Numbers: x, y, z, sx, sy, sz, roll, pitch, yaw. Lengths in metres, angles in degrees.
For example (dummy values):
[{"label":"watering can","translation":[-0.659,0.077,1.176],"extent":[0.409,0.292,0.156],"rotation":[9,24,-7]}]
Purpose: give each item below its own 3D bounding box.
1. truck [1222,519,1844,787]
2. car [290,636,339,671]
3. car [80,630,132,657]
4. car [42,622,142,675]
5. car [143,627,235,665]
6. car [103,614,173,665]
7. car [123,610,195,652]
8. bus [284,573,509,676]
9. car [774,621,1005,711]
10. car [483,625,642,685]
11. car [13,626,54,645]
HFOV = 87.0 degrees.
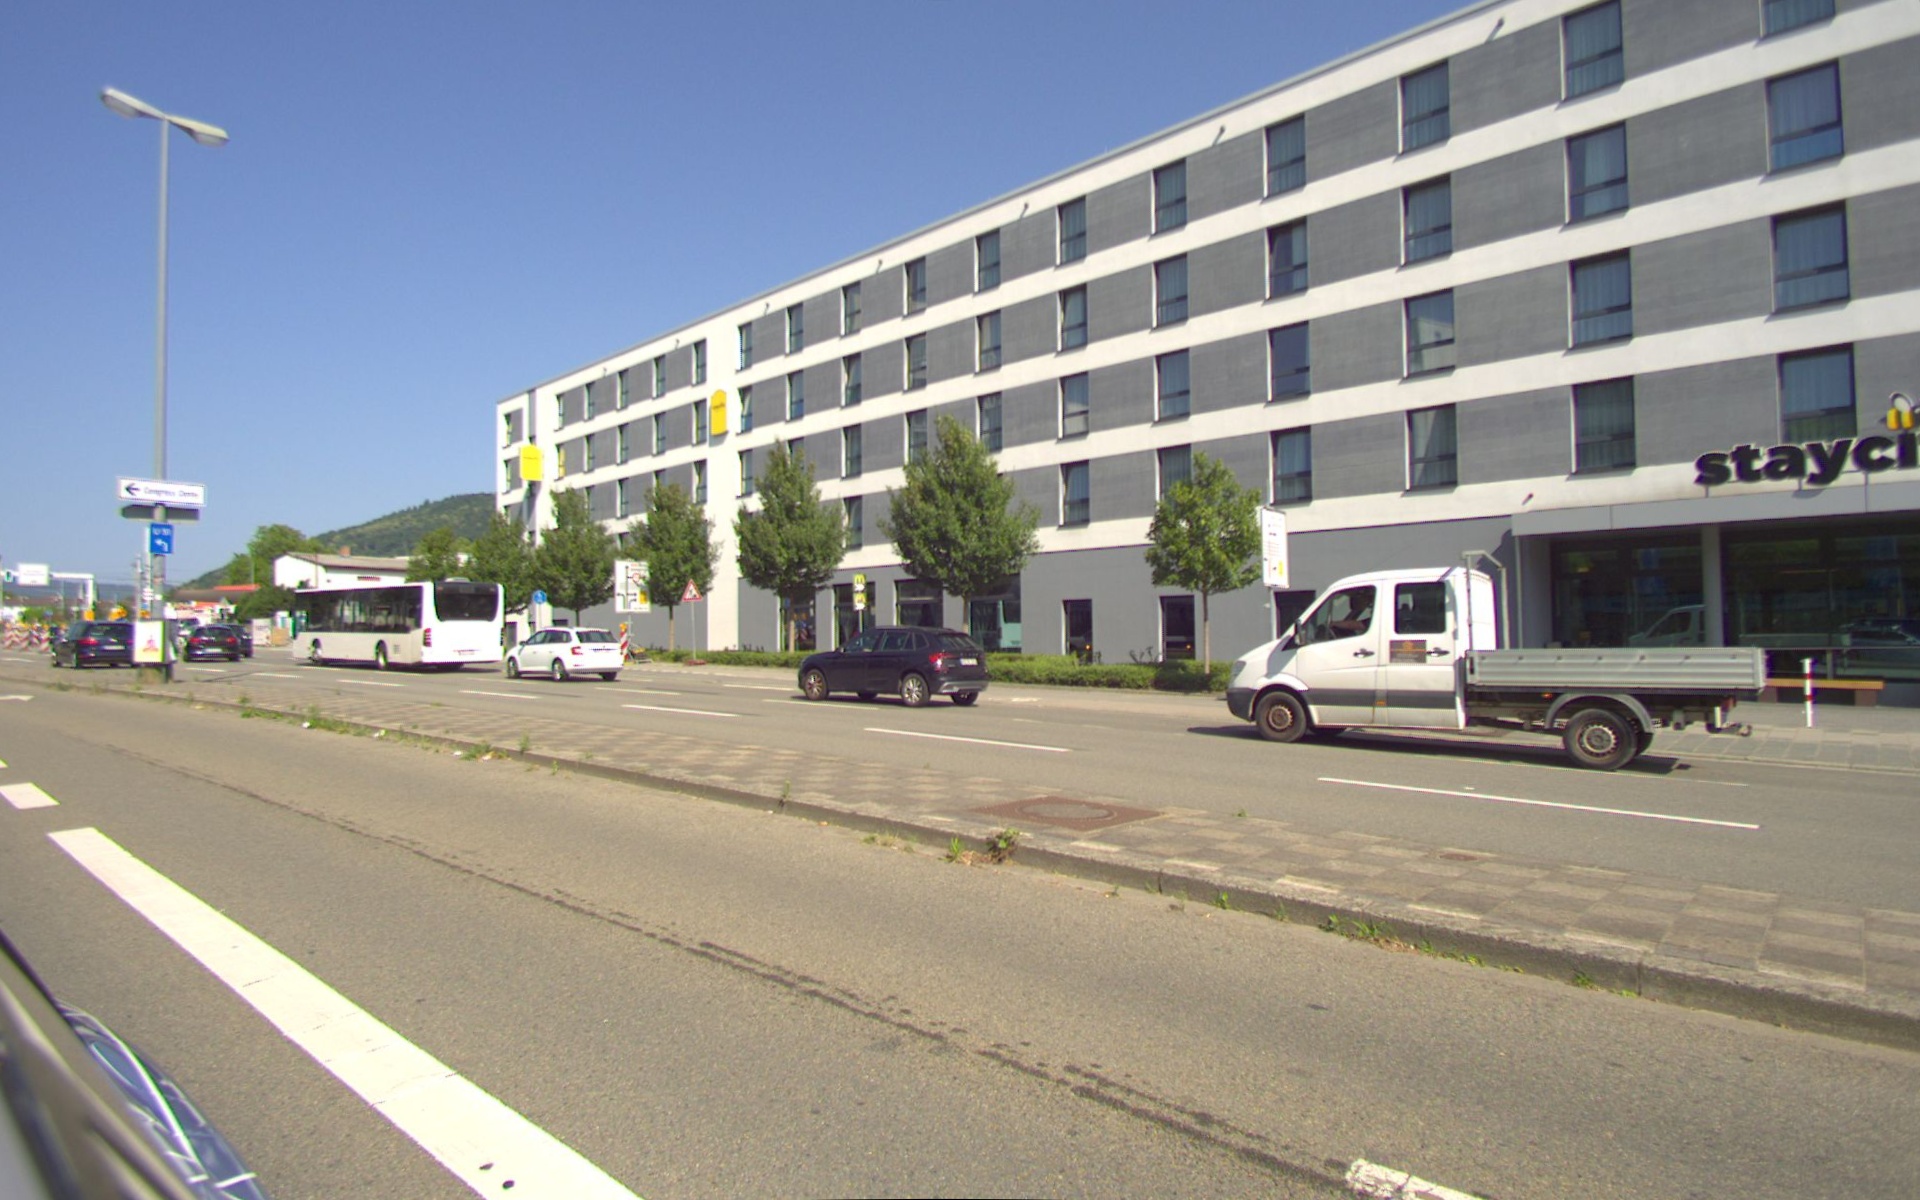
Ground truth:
[{"label":"truck","translation":[6.771,0.633,12.726],"extent":[6.437,2.565,2.331],"rotation":[-2,-4,43]},{"label":"car","translation":[-25.152,2.060,39.412],"extent":[2.219,1.216,1.044],"rotation":[0,0,42]},{"label":"car","translation":[-54.557,2.743,64.659],"extent":[3.584,1.631,1.699],"rotation":[-1,-1,36]},{"label":"car","translation":[-28.539,1.545,33.223],"extent":[4.132,1.630,1.866],"rotation":[-1,-2,40]},{"label":"car","translation":[-31.356,1.828,41.095],"extent":[4.887,1.443,1.973],"rotation":[-1,-2,40]},{"label":"car","translation":[-35.552,1.663,43.721],"extent":[4.162,2.029,1.658],"rotation":[0,0,41]},{"label":"car","translation":[-43.239,1.680,54.630],"extent":[3.992,2.029,1.976],"rotation":[-3,-1,36]},{"label":"bus","translation":[-20.025,0.885,35.414],"extent":[11.966,3.102,2.710],"rotation":[-1,-4,40]},{"label":"car","translation":[-1.470,1.269,20.239],"extent":[4.406,1.590,1.975],"rotation":[-1,-4,37]},{"label":"car","translation":[-11.057,1.513,28.036],"extent":[4.403,1.497,1.976],"rotation":[0,-4,36]},{"label":"car","translation":[-76.976,2.932,84.057],"extent":[4.888,1.534,1.973],"rotation":[-1,-2,41]}]
